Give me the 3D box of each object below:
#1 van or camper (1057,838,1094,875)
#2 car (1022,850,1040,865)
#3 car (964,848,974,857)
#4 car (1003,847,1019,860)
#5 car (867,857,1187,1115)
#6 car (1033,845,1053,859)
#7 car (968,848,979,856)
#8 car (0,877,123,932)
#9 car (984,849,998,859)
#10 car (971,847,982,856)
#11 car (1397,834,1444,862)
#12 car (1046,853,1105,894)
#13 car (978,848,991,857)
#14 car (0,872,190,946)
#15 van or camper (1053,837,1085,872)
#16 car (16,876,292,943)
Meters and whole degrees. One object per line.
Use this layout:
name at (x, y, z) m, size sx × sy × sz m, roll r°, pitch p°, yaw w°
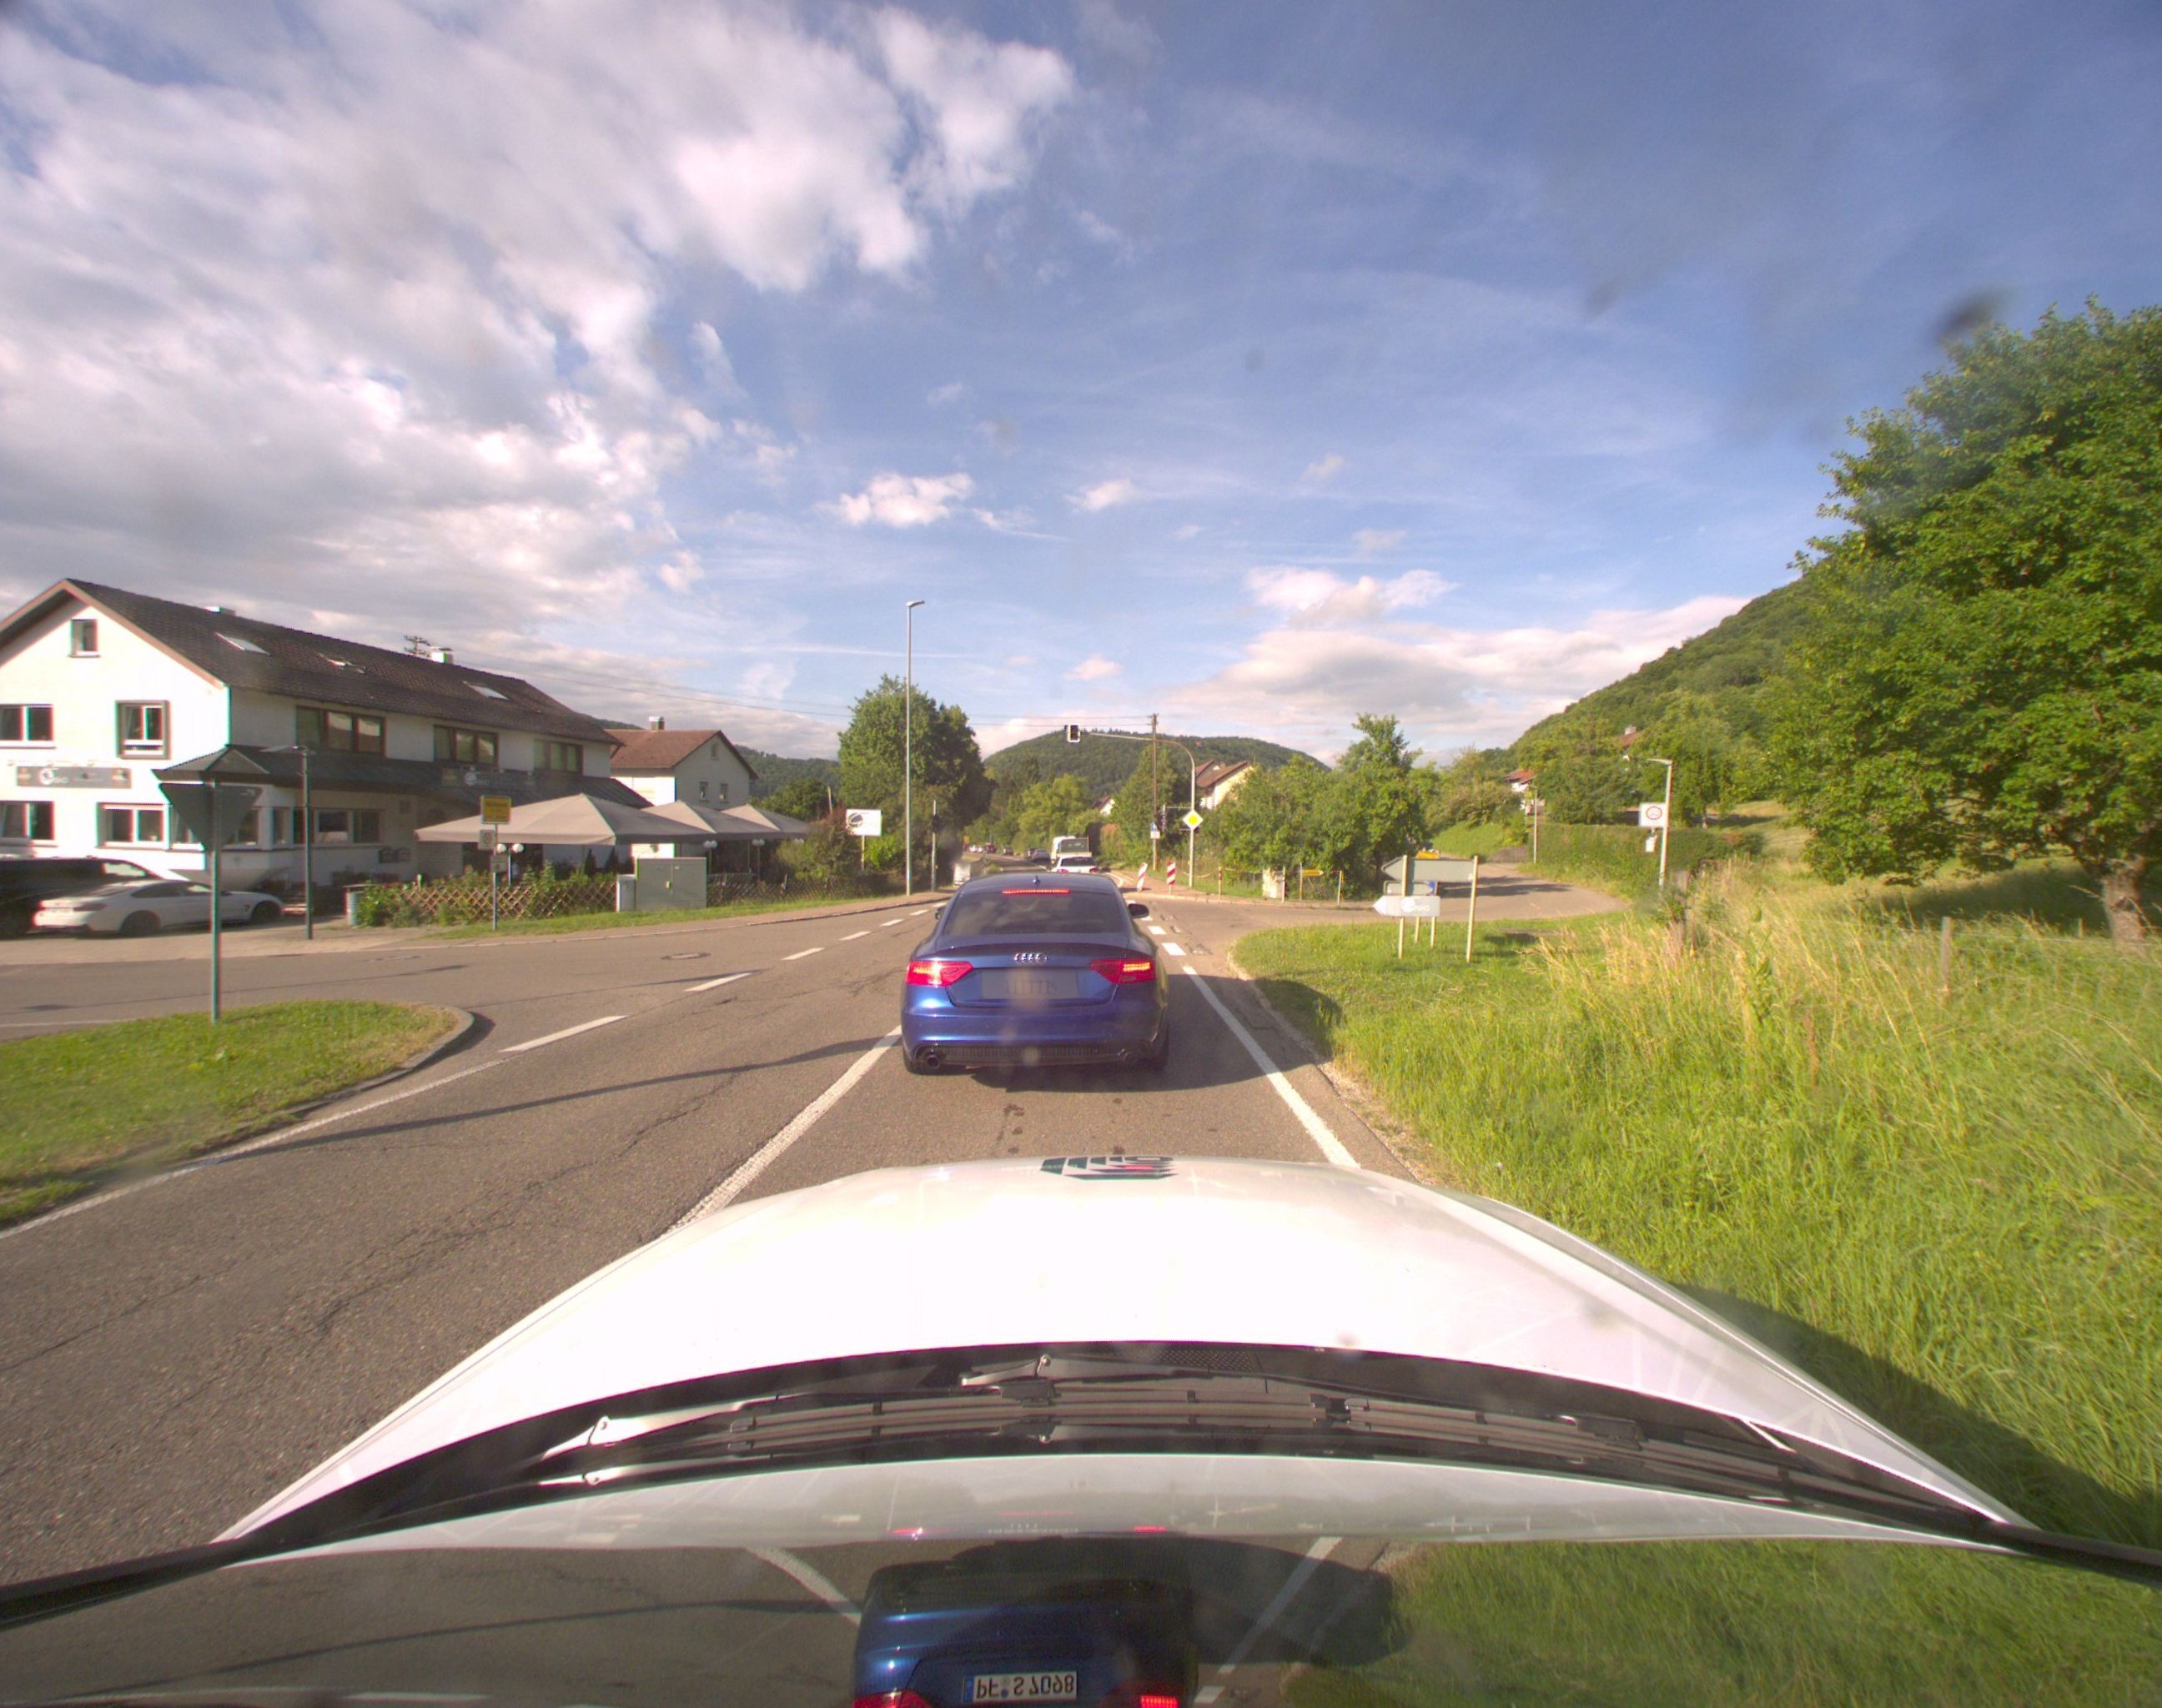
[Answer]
van or camper at (-0.457, 0.138, 55.657) m, size 2.176 × 2.385 × 5.362 m, roll -1°, pitch 1°, yaw -4°
car at (-6.353, 0.436, 102.697) m, size 1.796 × 1.794 × 3.987 m, roll -2°, pitch 0°, yaw -10°
car at (-24.723, -0.362, 178.958) m, size 1.774 × 1.783 × 3.982 m, roll -2°, pitch 0°, yaw -14°
car at (-11.249, -0.054, 129.979) m, size 1.995 × 2.013 × 3.983 m, roll -2°, pitch 0°, yaw -12°
car at (-0.301, 0.773, 6.858) m, size 1.824 × 1.409 × 4.226 m, roll -2°, pitch 0°, yaw 0°
car at (-4.289, -0.219, 91.771) m, size 1.819 × 1.552 × 3.988 m, roll -1°, pitch 1°, yaw -9°
car at (-22.753, -0.447, 172.348) m, size 1.774 × 1.783 × 3.982 m, roll -2°, pitch 0°, yaw -14°
car at (-30.400, 1.456, 22.614) m, size 1.984 × 1.389 × 4.582 m, roll -2°, pitch 0°, yaw 5°
car at (-16.392, -0.037, 148.858) m, size 2.043 × 1.684 × 3.982 m, roll -1°, pitch 1°, yaw -13°
car at (-21.372, -0.522, 166.118) m, size 1.751 × 1.783 × 3.982 m, roll -2°, pitch 0°, yaw -14°
car at (24.333, -0.445, 58.539) m, size 1.982 × 1.876 × 4.882 m, roll 1°, pitch 1°, yaw 8°
car at (-0.286, 0.682, 30.732) m, size 1.769 × 1.415 × 4.164 m, roll 1°, pitch 0°, yaw -7°
car at (-18.646, -0.366, 157.330) m, size 1.944 × 1.684 × 3.982 m, roll -2°, pitch 0°, yaw -13°
car at (-27.335, 1.427, 21.662) m, size 1.984 × 1.685 × 4.582 m, roll -2°, pitch 0°, yaw 5°
van or camper at (-1.131, 0.004, 70.517) m, size 2.410 × 2.904 × 6.122 m, roll -1°, pitch 1°, yaw -4°
car at (-24.635, 1.409, 21.975) m, size 1.984 × 1.389 × 4.582 m, roll -2°, pitch 0°, yaw 5°
